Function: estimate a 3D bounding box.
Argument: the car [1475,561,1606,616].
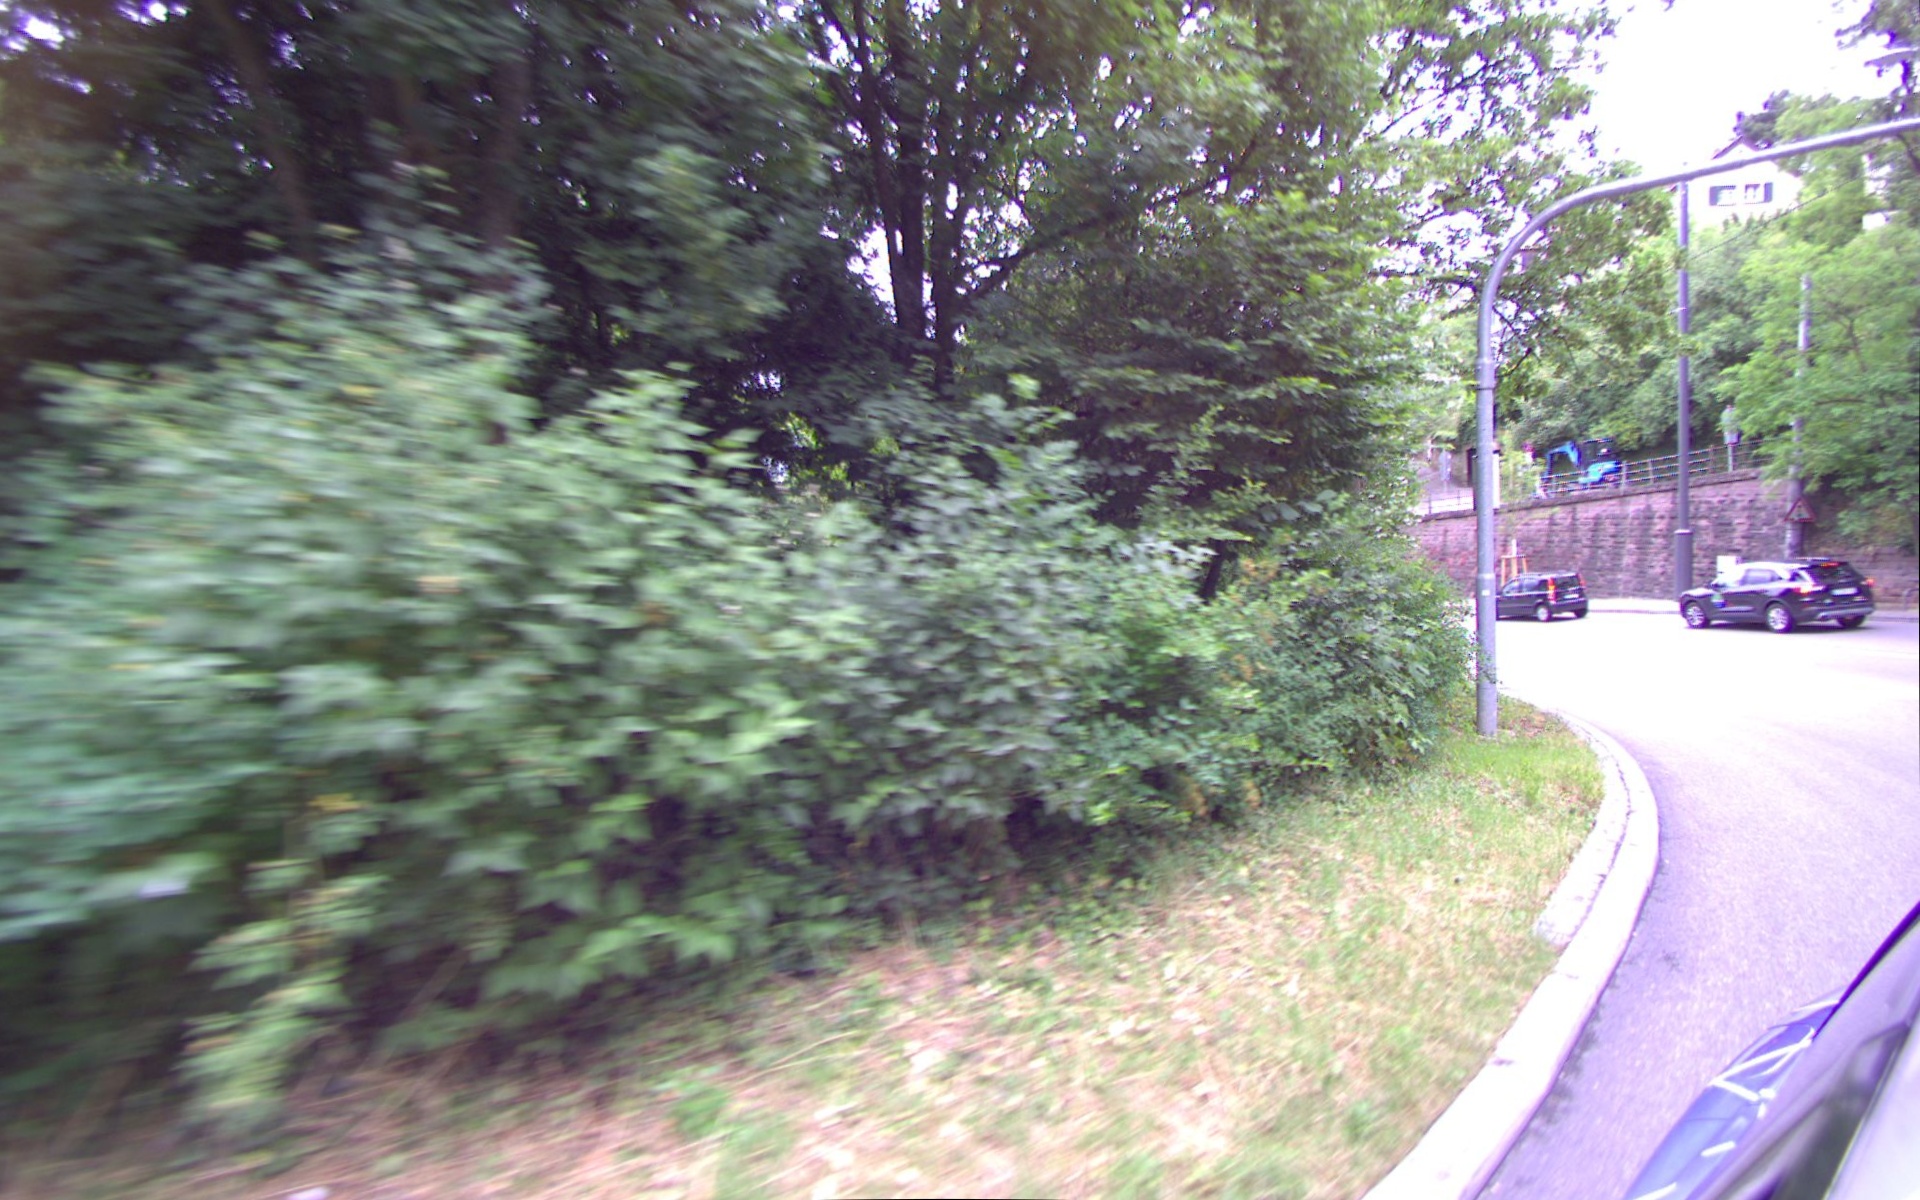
[{"bbox_3d":[18.953,-0.328,33.213,1.480,1.543,3.666,-6,0,-14],"label":"car"}]

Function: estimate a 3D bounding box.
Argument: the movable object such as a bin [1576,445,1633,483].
[{"bbox_3d":[28.526,-6.013,44.811,1.227,1.372,1.608,-5,0,-21],"label":"movable object such as a bin"}]

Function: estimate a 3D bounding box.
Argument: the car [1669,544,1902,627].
[{"bbox_3d":[19.707,-0.315,24.494,1.727,1.644,4.648,-6,0,1],"label":"car"}]
